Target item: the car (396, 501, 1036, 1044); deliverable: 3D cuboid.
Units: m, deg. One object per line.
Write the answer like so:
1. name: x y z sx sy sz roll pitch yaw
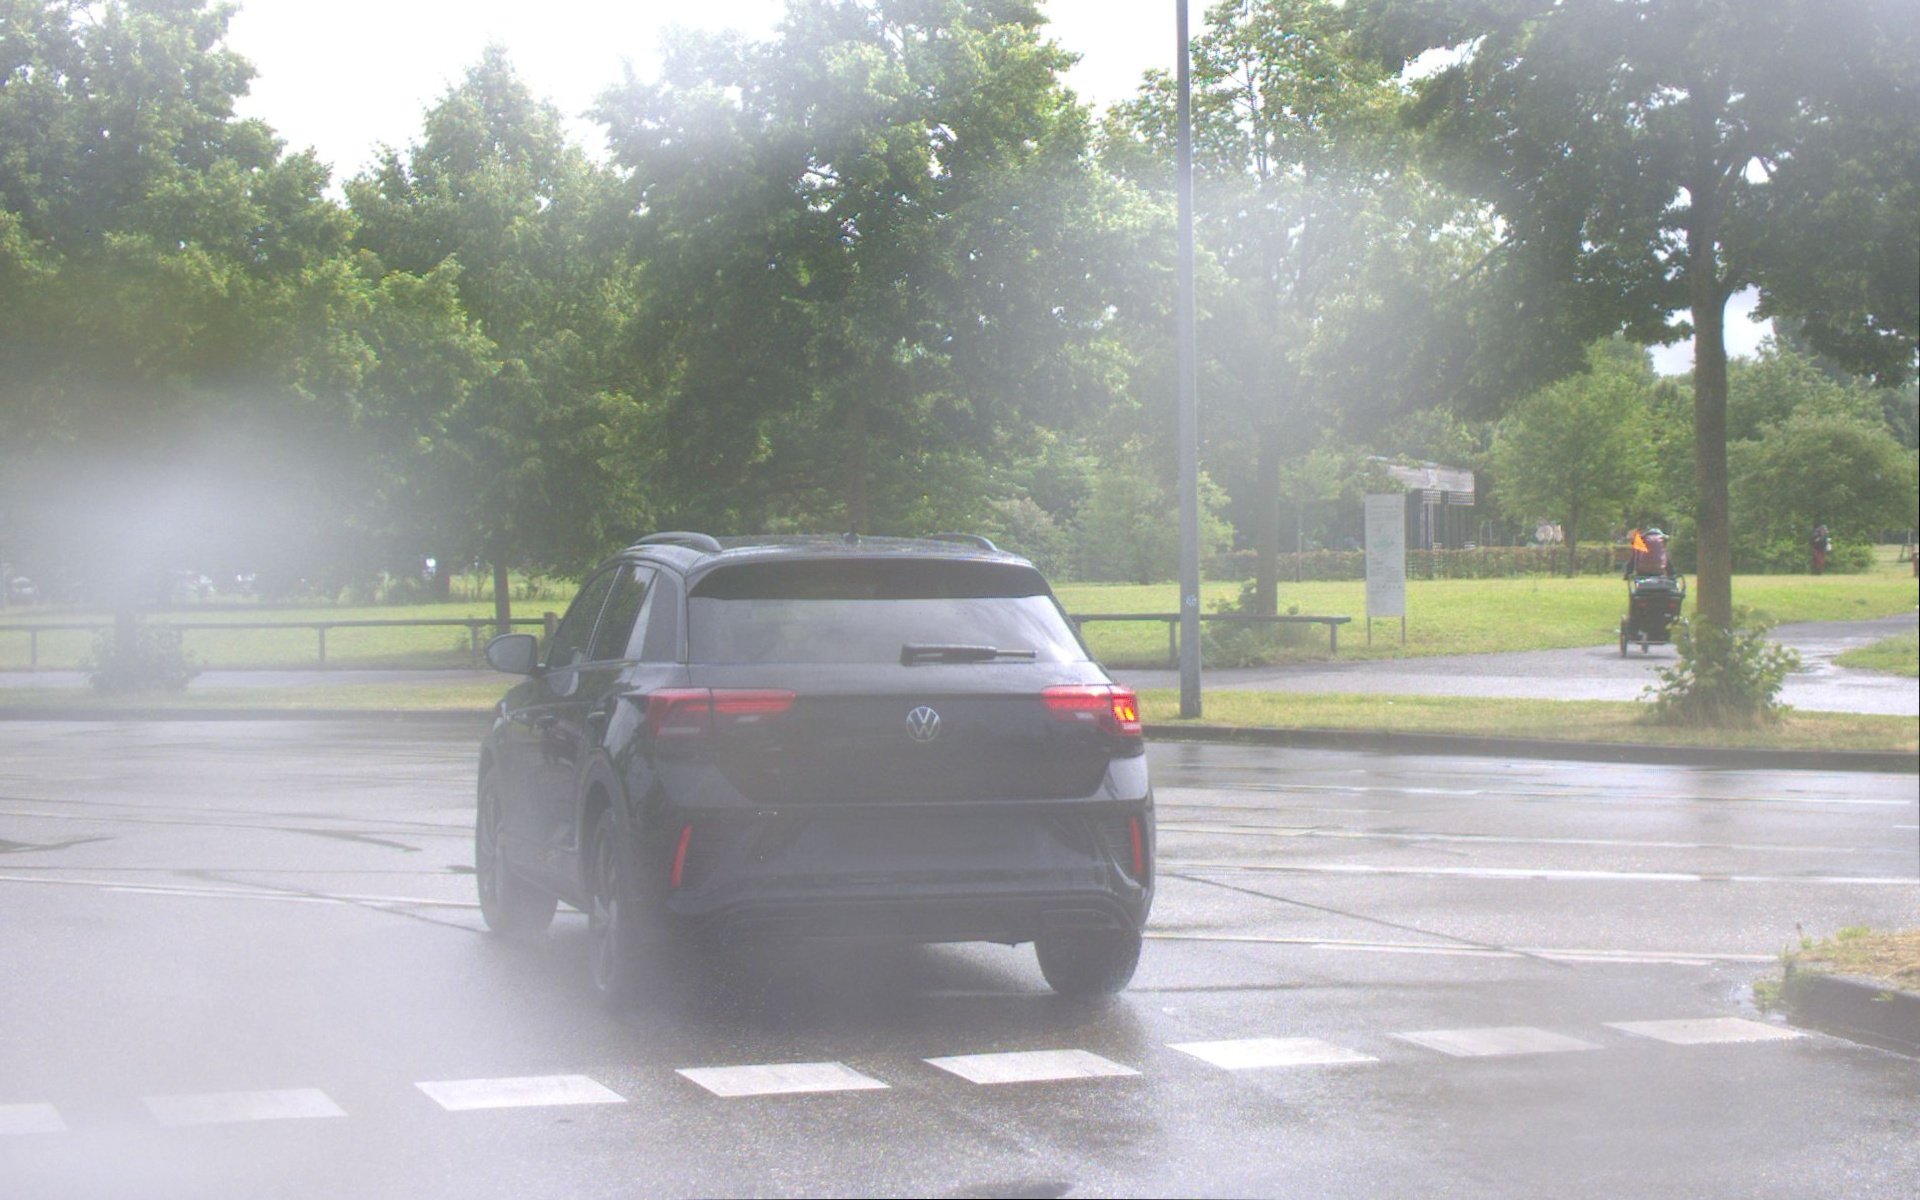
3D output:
1. car: -0.968 0.500 12.291 1.897 1.612 4.001 1 1 -7

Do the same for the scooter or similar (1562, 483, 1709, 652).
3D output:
1. scooter or similar: 8.401 -0.369 42.611 1.237 2.007 3.405 0 -1 21

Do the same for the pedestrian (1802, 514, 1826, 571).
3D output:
1. pedestrian: 26.208 -1.764 105.523 0.598 1.726 0.604 0 -1 27

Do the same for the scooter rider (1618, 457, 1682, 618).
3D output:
1. scooter rider: 8.752 -0.783 43.606 0.704 2.007 0.770 0 -1 18

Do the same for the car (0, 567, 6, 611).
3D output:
1. car: -35.645 -0.341 120.331 3.970 1.554 1.848 -1 1 20
